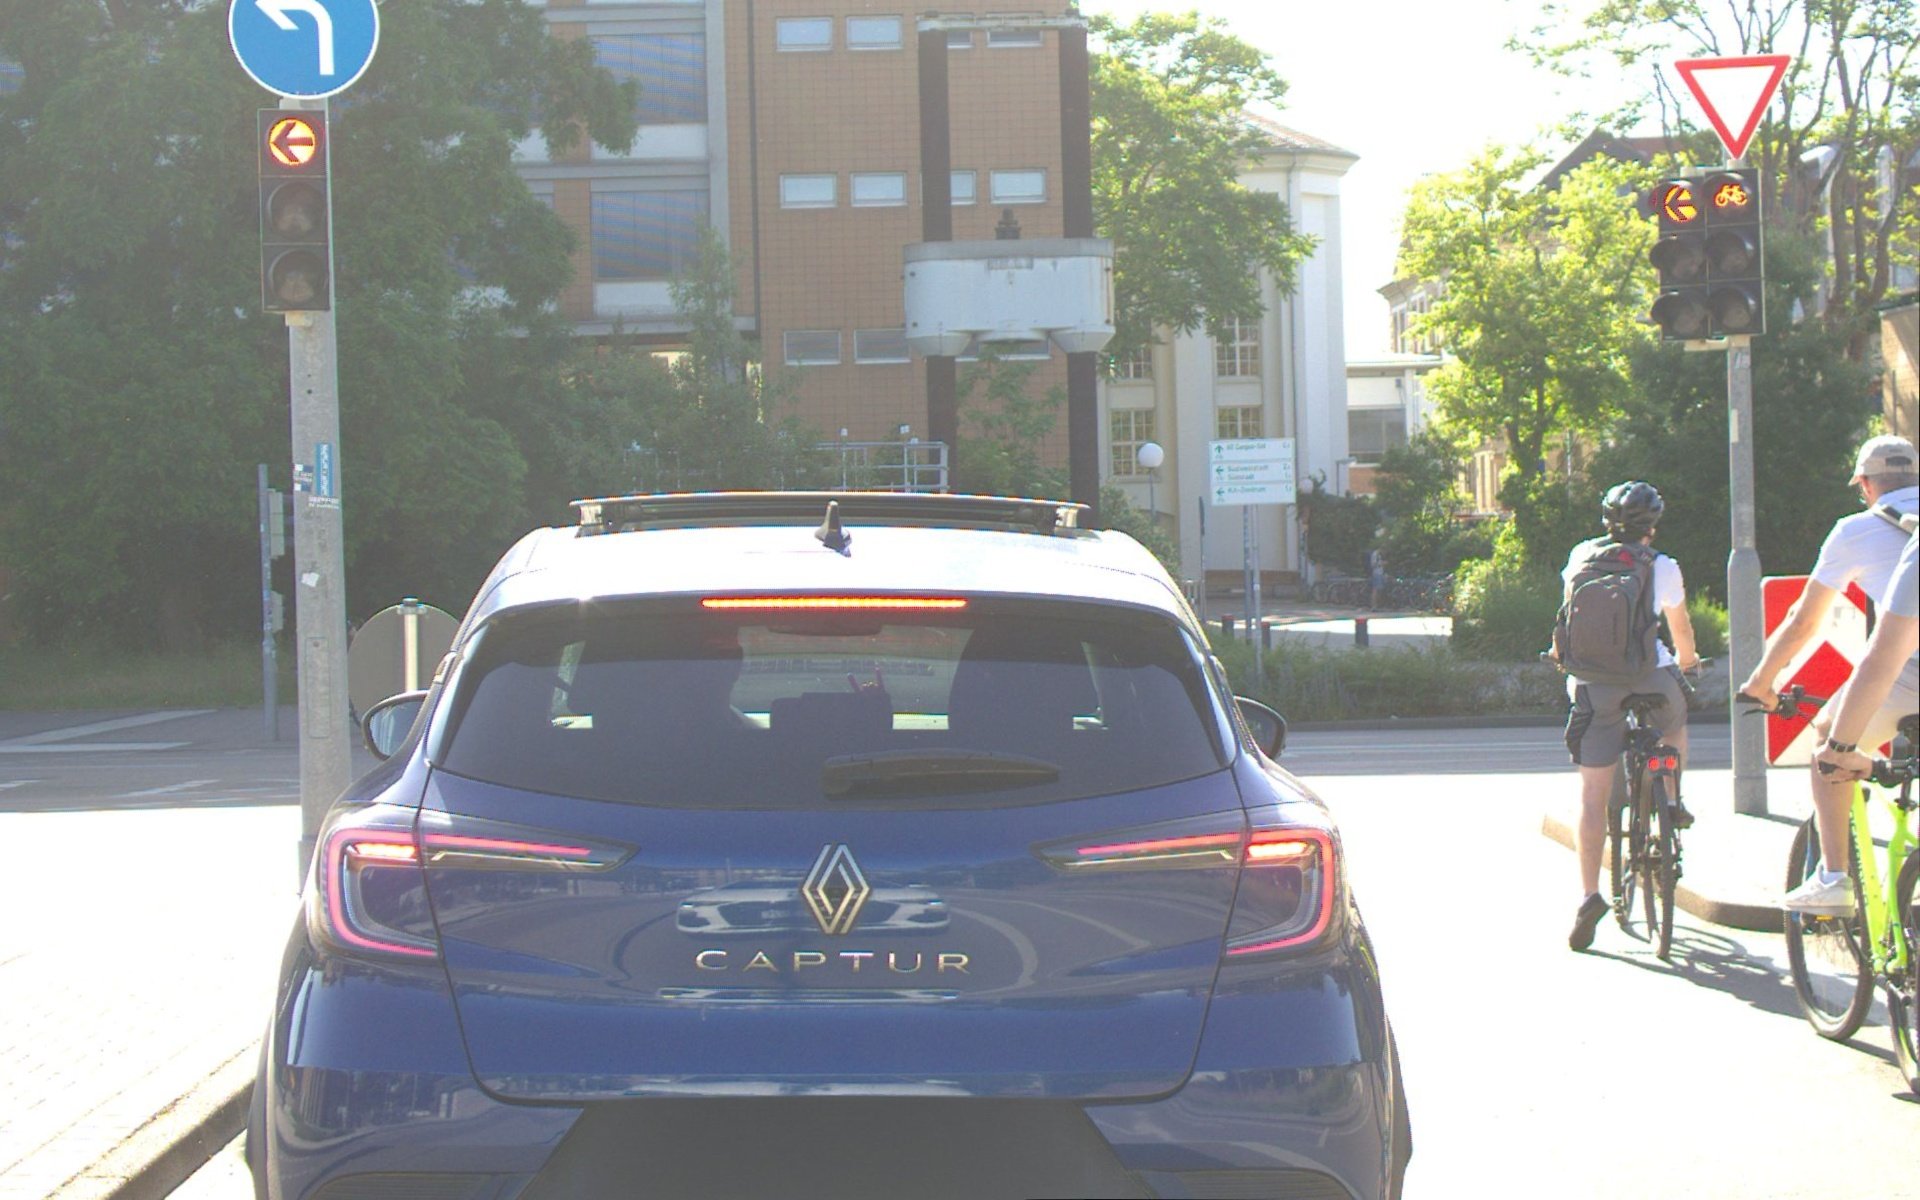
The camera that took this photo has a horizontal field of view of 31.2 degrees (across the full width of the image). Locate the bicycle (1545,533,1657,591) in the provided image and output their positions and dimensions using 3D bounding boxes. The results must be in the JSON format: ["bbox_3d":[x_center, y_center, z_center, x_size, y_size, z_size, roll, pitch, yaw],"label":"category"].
[{"bbox_3d":[12.979,-0.755,69.685,0.694,1.136,2.441,-2,1,-35],"label":"bicycle"}]

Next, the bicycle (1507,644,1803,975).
[{"bbox_3d":[2.540,0.732,12.770,0.689,1.085,1.922,0,1,-1],"label":"bicycle"}]

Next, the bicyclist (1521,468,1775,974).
[{"bbox_3d":[2.519,0.419,12.695,0.699,1.785,1.142,0,1,-1],"label":"bicyclist"}]

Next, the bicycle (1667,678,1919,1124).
[{"bbox_3d":[2.582,0.801,9.863,0.689,1.085,1.922,0,1,-1],"label":"bicycle"}]

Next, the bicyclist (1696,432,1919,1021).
[{"bbox_3d":[2.578,0.334,9.855,0.678,1.589,1.142,0,1,-1],"label":"bicyclist"}]

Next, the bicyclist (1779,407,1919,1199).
[{"bbox_3d":[2.231,0.504,7.334,0.683,1.785,1.142,0,1,-1],"label":"bicyclist"}]

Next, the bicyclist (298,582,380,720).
[{"bbox_3d":[-7.904,0.643,43.805,0.755,1.710,0.998,-1,1,5],"label":"bicyclist"}]

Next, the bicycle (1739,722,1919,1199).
[{"bbox_3d":[2.227,0.848,7.302,0.689,1.085,1.922,0,1,-1],"label":"bicycle"}]

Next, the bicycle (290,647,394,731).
[{"bbox_3d":[-7.883,1.122,43.916,0.755,0.981,2.093,-1,1,5],"label":"bicycle"}]

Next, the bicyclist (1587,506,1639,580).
[{"bbox_3d":[13.185,-1.151,69.394,0.694,1.476,0.717,-2,1,-33],"label":"bicyclist"}]

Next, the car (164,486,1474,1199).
[{"bbox_3d":[-0.270,0.612,6.658,1.788,1.580,3.915,0,1,-2],"label":"car"}]
